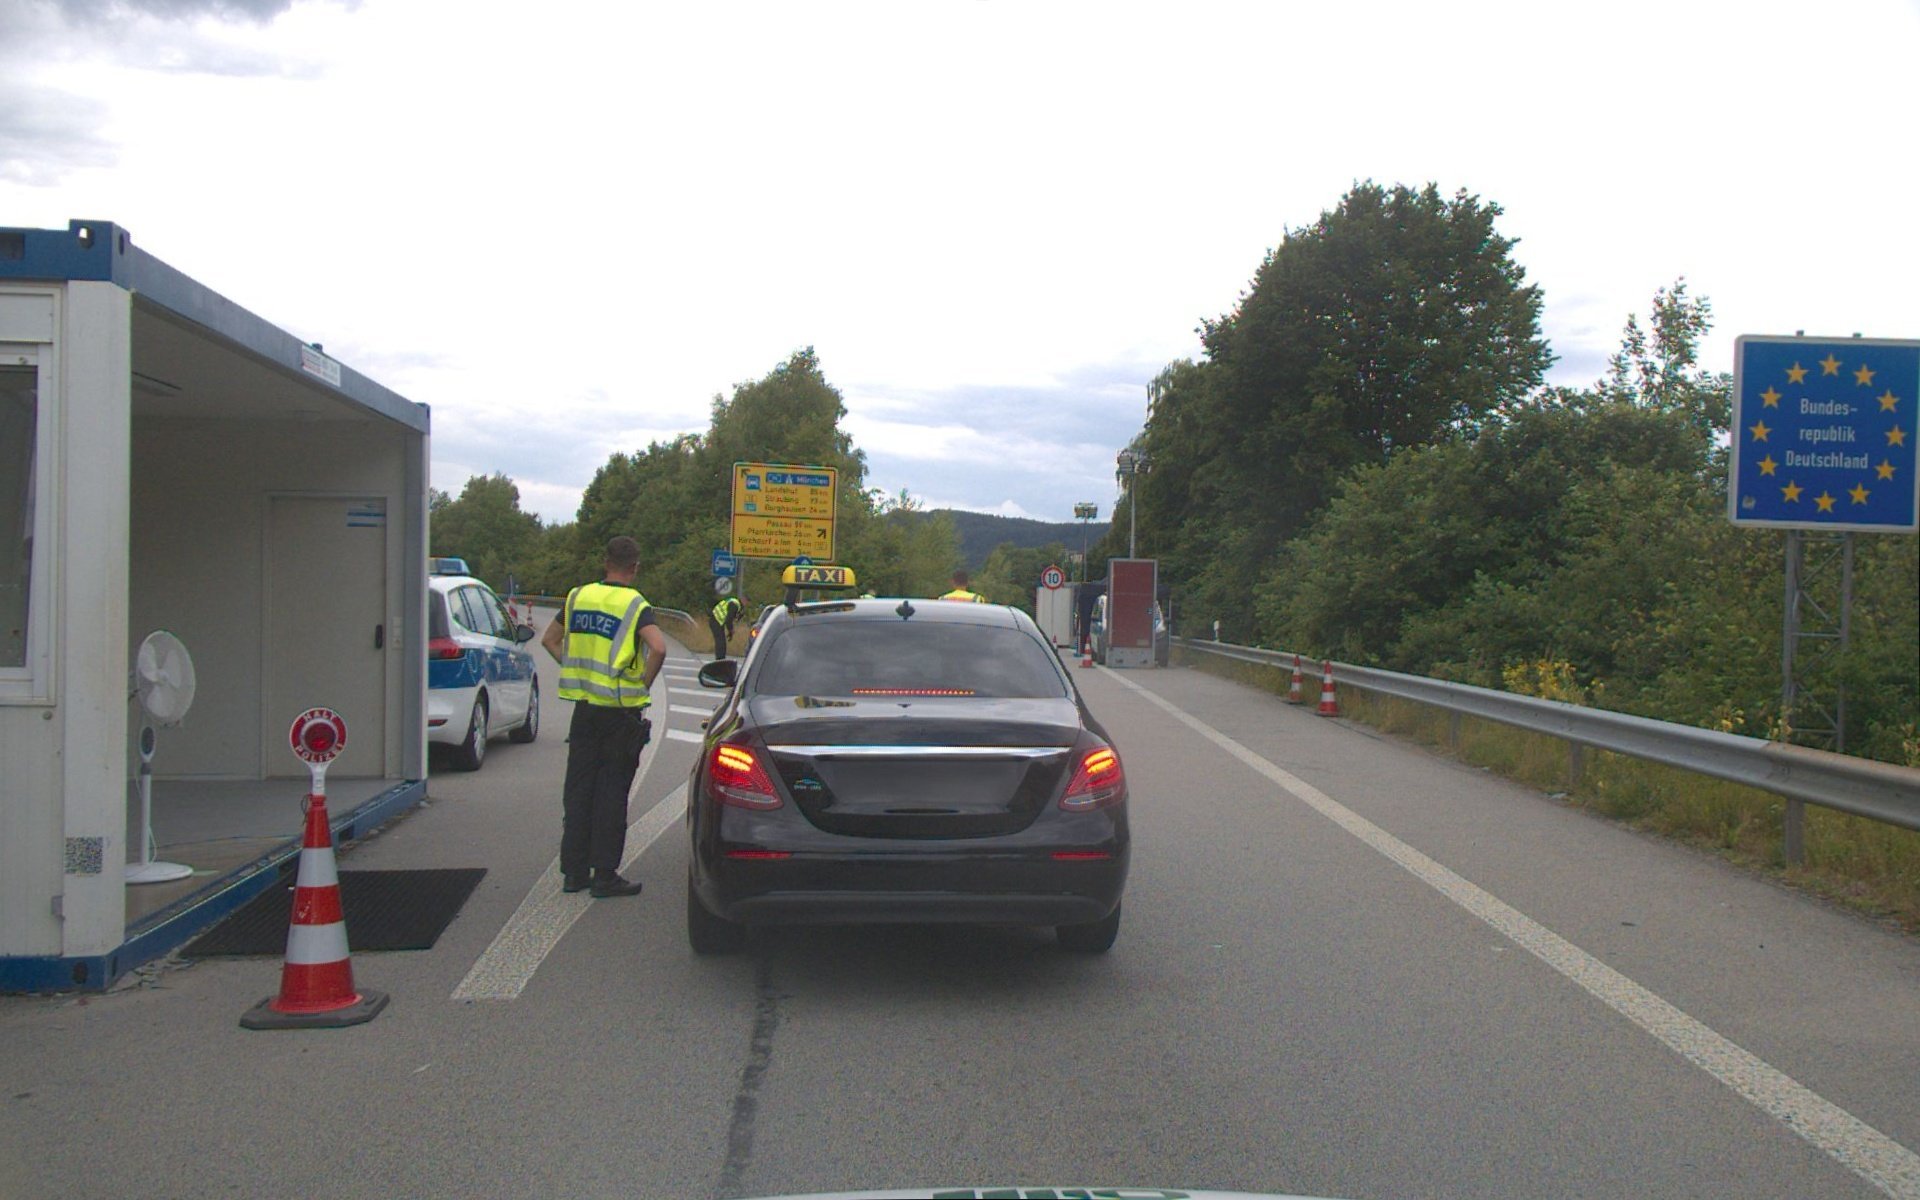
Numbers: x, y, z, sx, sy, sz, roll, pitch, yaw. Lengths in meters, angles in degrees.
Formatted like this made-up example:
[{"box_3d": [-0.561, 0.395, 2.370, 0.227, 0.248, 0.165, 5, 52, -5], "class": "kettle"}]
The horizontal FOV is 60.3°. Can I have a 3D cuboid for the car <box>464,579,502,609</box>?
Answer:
[{"box_3d": [-24.952, -0.308, 86.561, 1.825, 1.524, 4.239, 1, 0, -15], "class": "car"}]

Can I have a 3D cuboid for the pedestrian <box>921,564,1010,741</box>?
[{"box_3d": [0.064, 0.549, 17.890, 0.795, 1.862, 0.810, 0, 0, 13], "class": "pedestrian"}]

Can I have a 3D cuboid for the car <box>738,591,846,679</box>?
[{"box_3d": [-3.060, 0.605, 30.850, 1.818, 1.524, 4.253, 1, 0, -4], "class": "car"}]

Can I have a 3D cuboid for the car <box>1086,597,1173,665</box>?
[{"box_3d": [4.652, 0.802, 45.984, 1.877, 1.707, 5.083, 2, 0, 1], "class": "car"}]

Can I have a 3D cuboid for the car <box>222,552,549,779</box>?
[{"box_3d": [-5.005, 0.512, 15.002, 1.832, 1.774, 4.004, 1, 0, -5], "class": "car"}]

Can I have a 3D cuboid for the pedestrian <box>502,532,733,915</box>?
[{"box_3d": [-1.670, 0.563, 8.099, 0.747, 1.748, 0.815, 0, 0, 36], "class": "pedestrian"}]

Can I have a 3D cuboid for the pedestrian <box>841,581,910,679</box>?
[{"box_3d": [-1.522, 0.529, 29.835, 0.900, 1.727, 0.903, 1, -1, -32], "class": "pedestrian"}]

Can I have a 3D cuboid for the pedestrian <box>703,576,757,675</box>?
[{"box_3d": [-4.265, 0.468, 30.740, 0.893, 1.800, 0.911, 1, 0, -4], "class": "pedestrian"}]

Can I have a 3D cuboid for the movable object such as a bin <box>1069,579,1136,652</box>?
[{"box_3d": [4.676, 0.488, 54.828, 1.952, 2.320, 4.168, 1, 0, 1], "class": "movable object such as a bin"}]

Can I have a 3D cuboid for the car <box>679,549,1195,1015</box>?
[{"box_3d": [-0.270, 0.637, 8.039, 1.819, 1.623, 4.370, 1, 0, -5], "class": "car"}]
